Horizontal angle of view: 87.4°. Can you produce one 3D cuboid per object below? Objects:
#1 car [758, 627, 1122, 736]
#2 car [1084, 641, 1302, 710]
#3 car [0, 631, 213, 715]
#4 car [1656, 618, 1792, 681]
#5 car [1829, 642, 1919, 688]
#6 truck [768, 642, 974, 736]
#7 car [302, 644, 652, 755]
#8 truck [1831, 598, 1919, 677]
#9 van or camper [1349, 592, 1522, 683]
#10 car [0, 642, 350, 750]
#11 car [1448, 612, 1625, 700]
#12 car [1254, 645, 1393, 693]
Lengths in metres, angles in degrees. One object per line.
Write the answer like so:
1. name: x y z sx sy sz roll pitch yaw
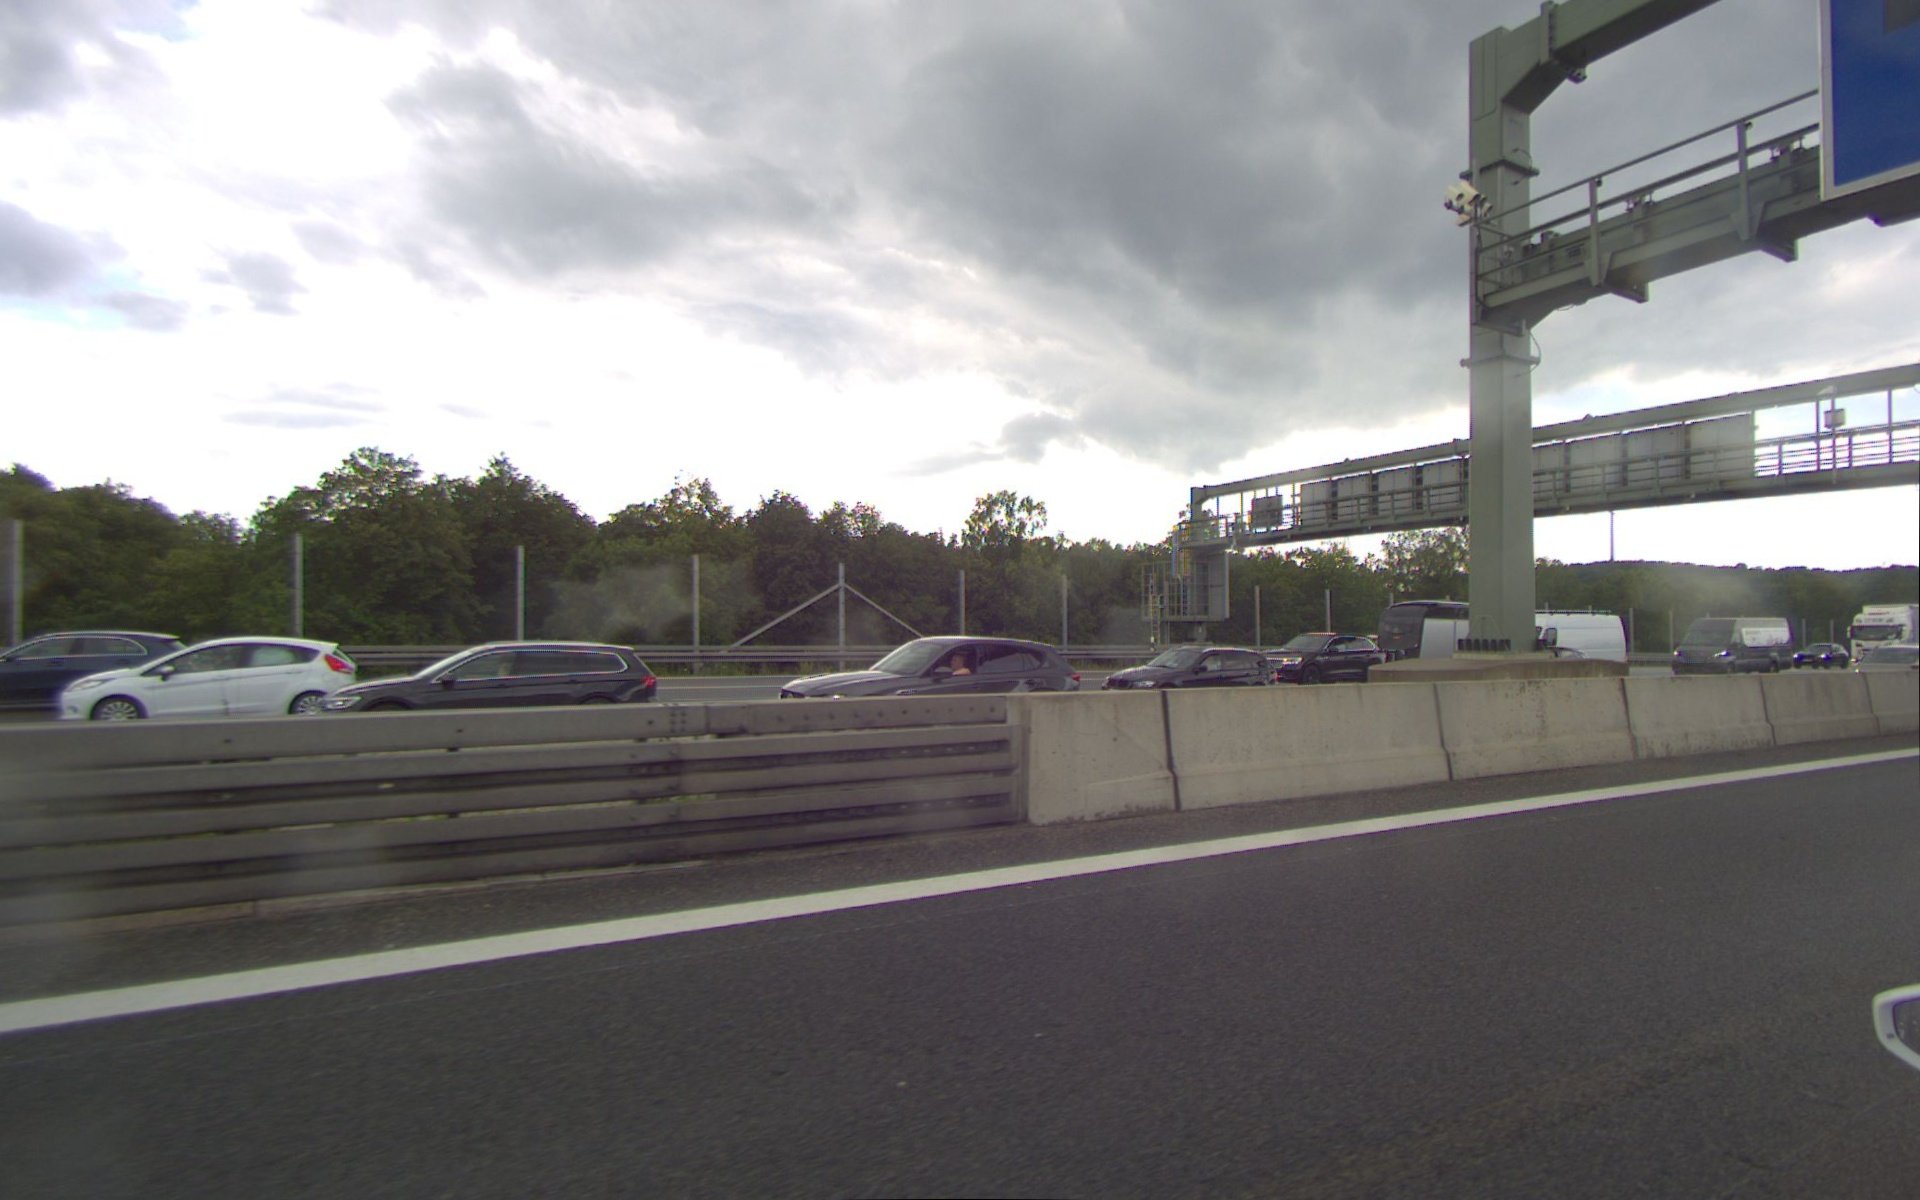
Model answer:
1. car: -0.213 1.107 15.175 5.196 1.375 2.069 1 -1 -31
2. car: 5.390 1.654 22.975 5.070 1.375 1.790 1 -1 -31
3. car: -16.743 1.327 18.769 4.292 1.445 1.753 1 -1 -31
4. car: 33.563 2.132 44.045 7.274 2.580 2.260 2 -1 -31
5. car: 32.202 2.217 34.935 4.344 1.457 1.749 1 -1 -31
6. truck: -1.898 1.819 21.608 3.955 1.769 1.983 1 -1 -32
7. car: -7.141 1.391 15.119 4.511 1.358 1.880 1 -1 -31
8. truck: 60.738 2.419 65.997 7.937 4.921 3.130 1 -1 -32
9. van or camper: 16.439 1.247 34.627 6.145 2.885 2.569 1 -1 -33
10. car: -12.415 1.452 16.208 4.366 1.466 1.613 1 -1 -31
11. car: 18.123 1.670 31.486 5.996 2.521 2.192 1 -1 -31
12. car: 11.203 2.072 30.847 4.454 1.278 1.694 1 -1 -33
